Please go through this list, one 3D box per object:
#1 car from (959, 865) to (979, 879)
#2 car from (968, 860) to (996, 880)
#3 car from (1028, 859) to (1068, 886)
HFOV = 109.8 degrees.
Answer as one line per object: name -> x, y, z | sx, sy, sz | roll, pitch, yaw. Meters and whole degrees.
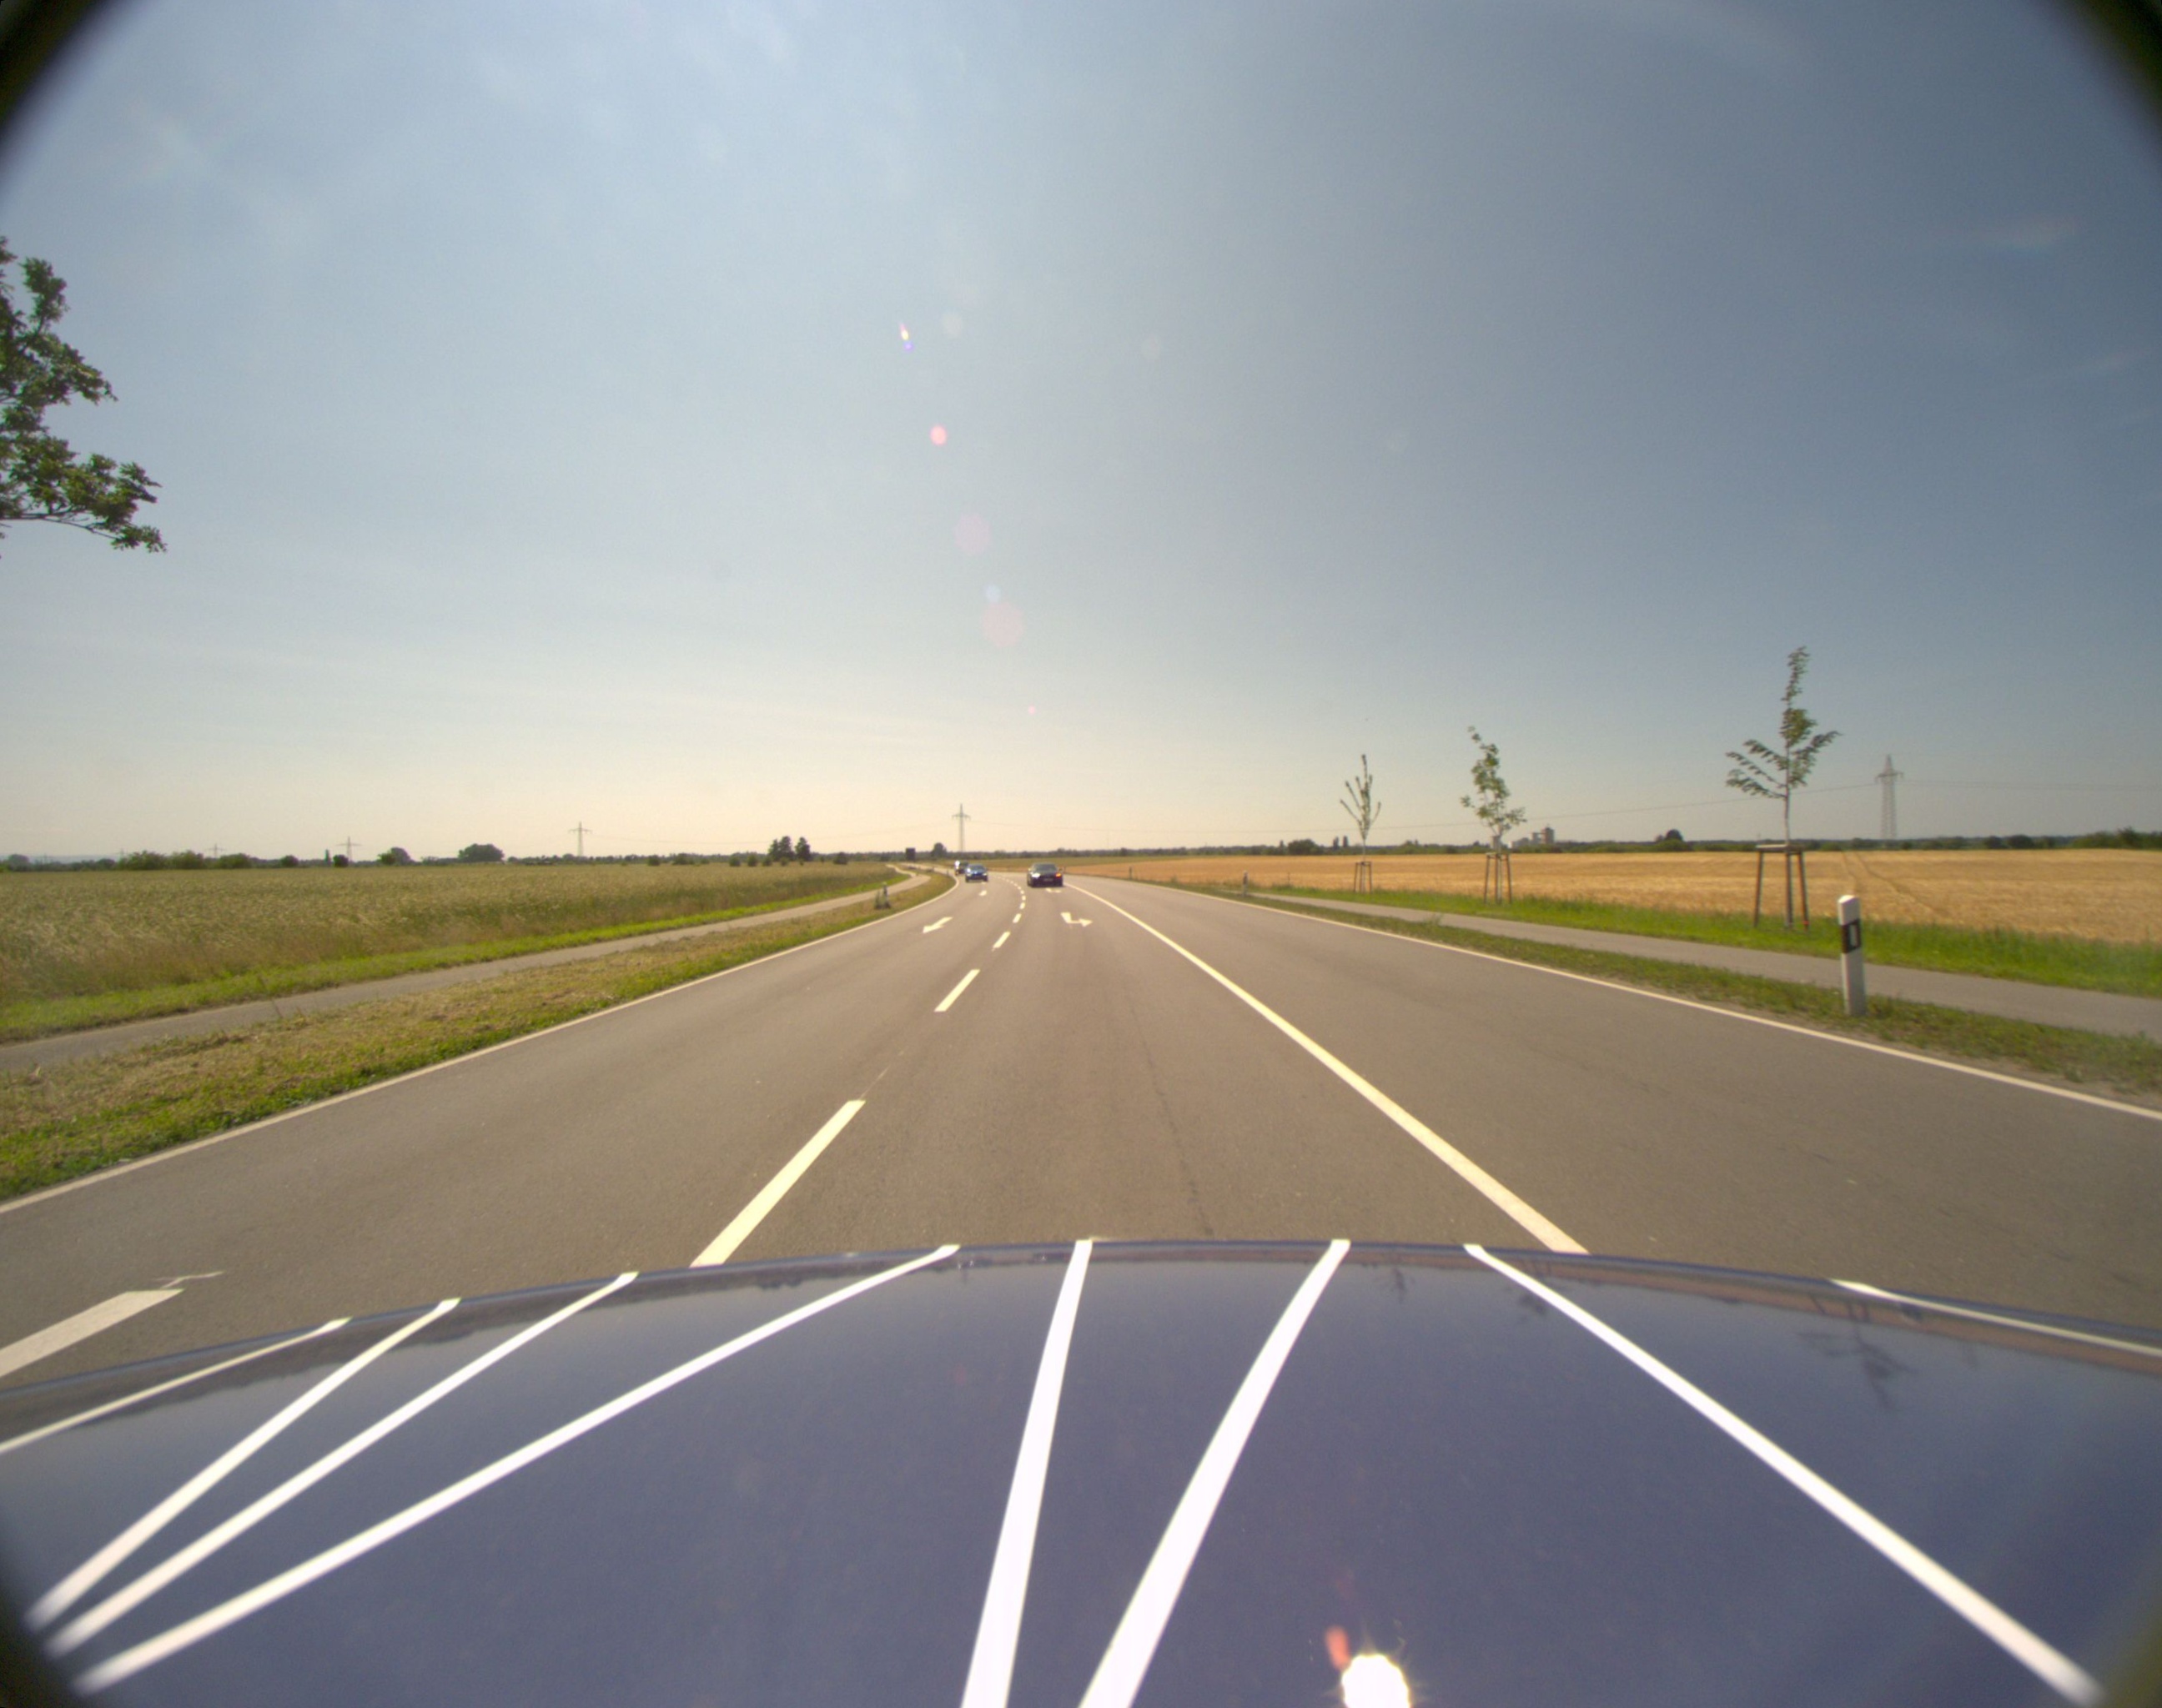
car -> -13.668, 2.147, 92.521 | 2.191, 1.458, 5.010 | -2, 0, -9
car -> -8.332, 1.326, 63.644 | 2.191, 1.458, 5.010 | -2, 0, -8
car -> -2.116, 1.115, 46.764 | 2.190, 1.458, 5.011 | -2, 0, -5
